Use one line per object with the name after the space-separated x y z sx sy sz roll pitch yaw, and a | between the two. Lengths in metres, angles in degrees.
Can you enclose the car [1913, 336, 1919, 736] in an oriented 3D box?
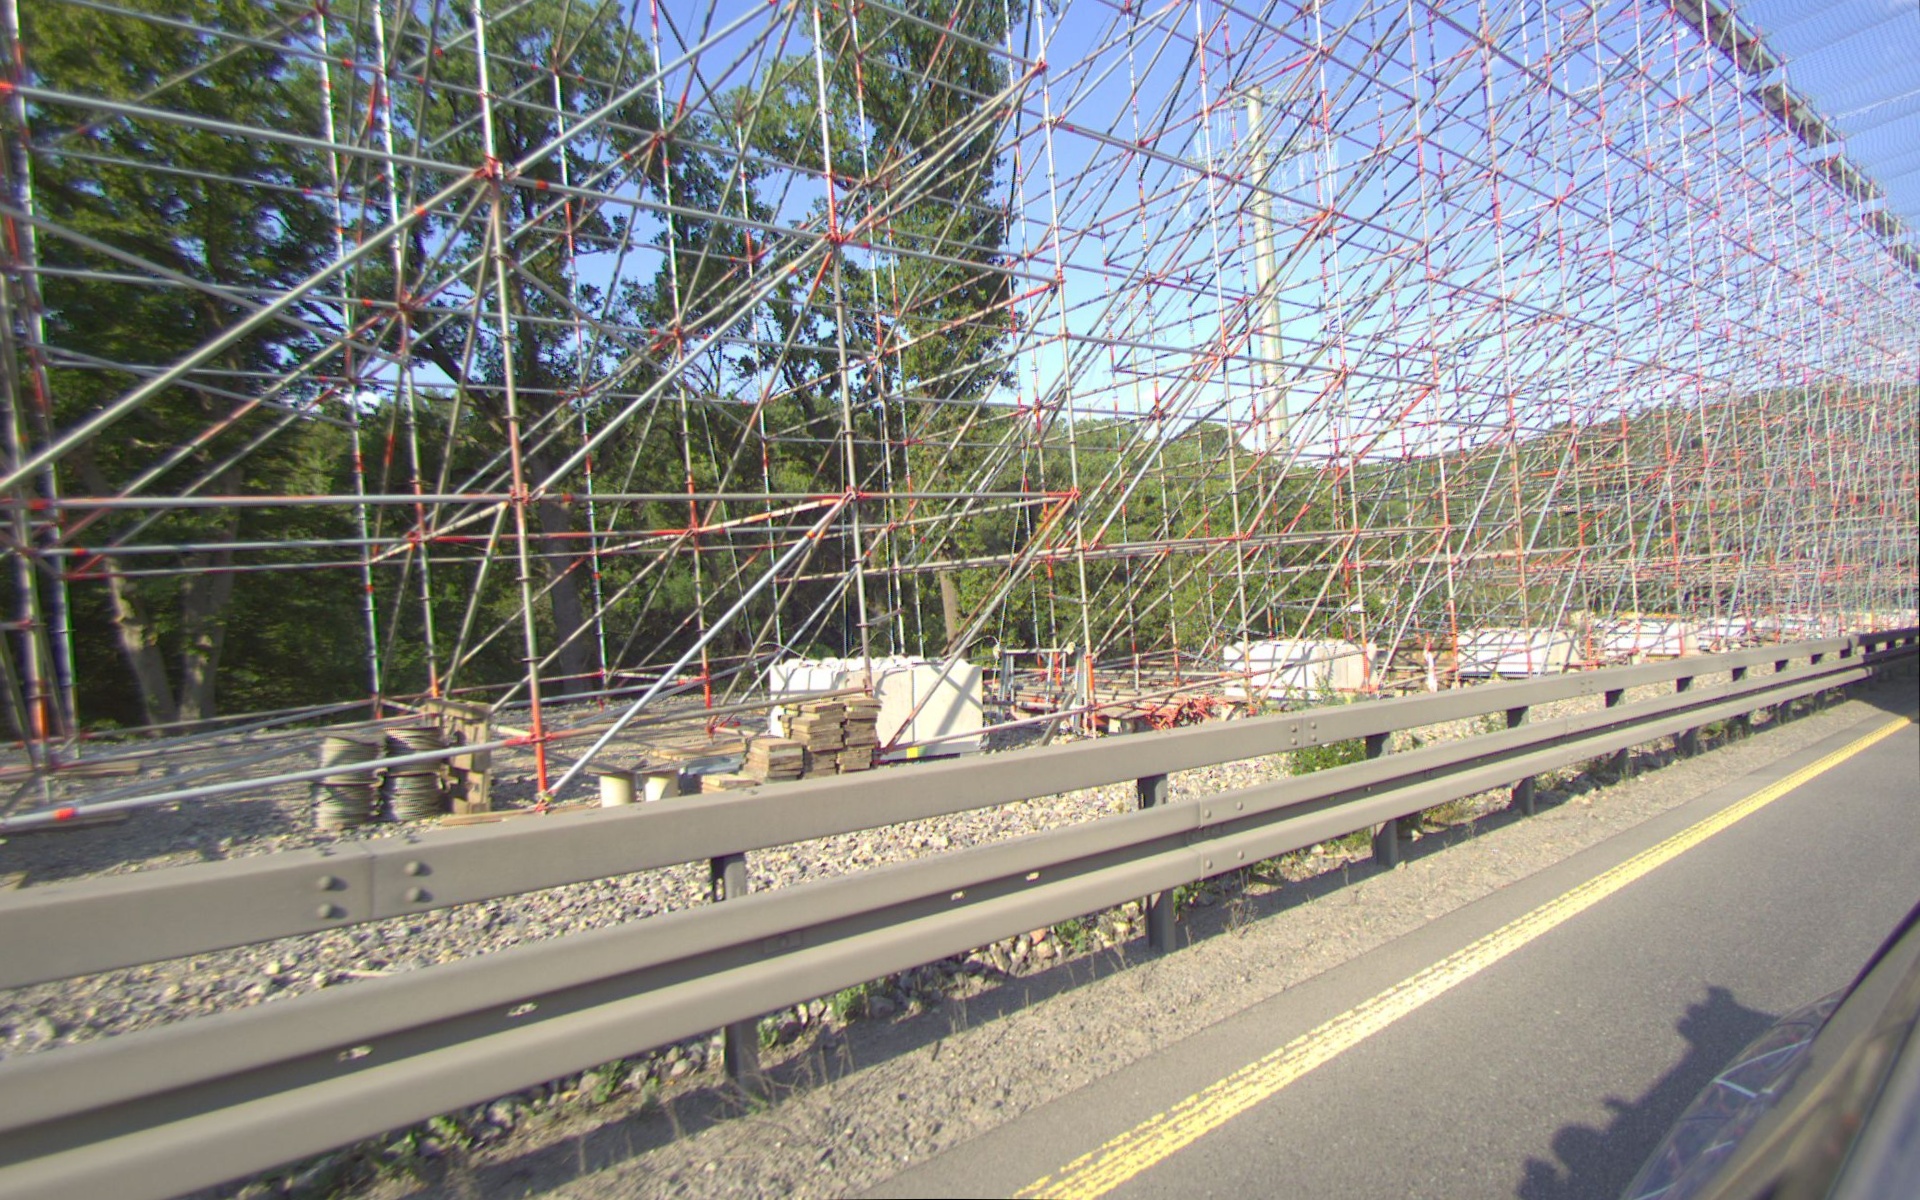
13.971 -0.702 12.099 8.134 4.167 2.857 -1 0 -40 | car
